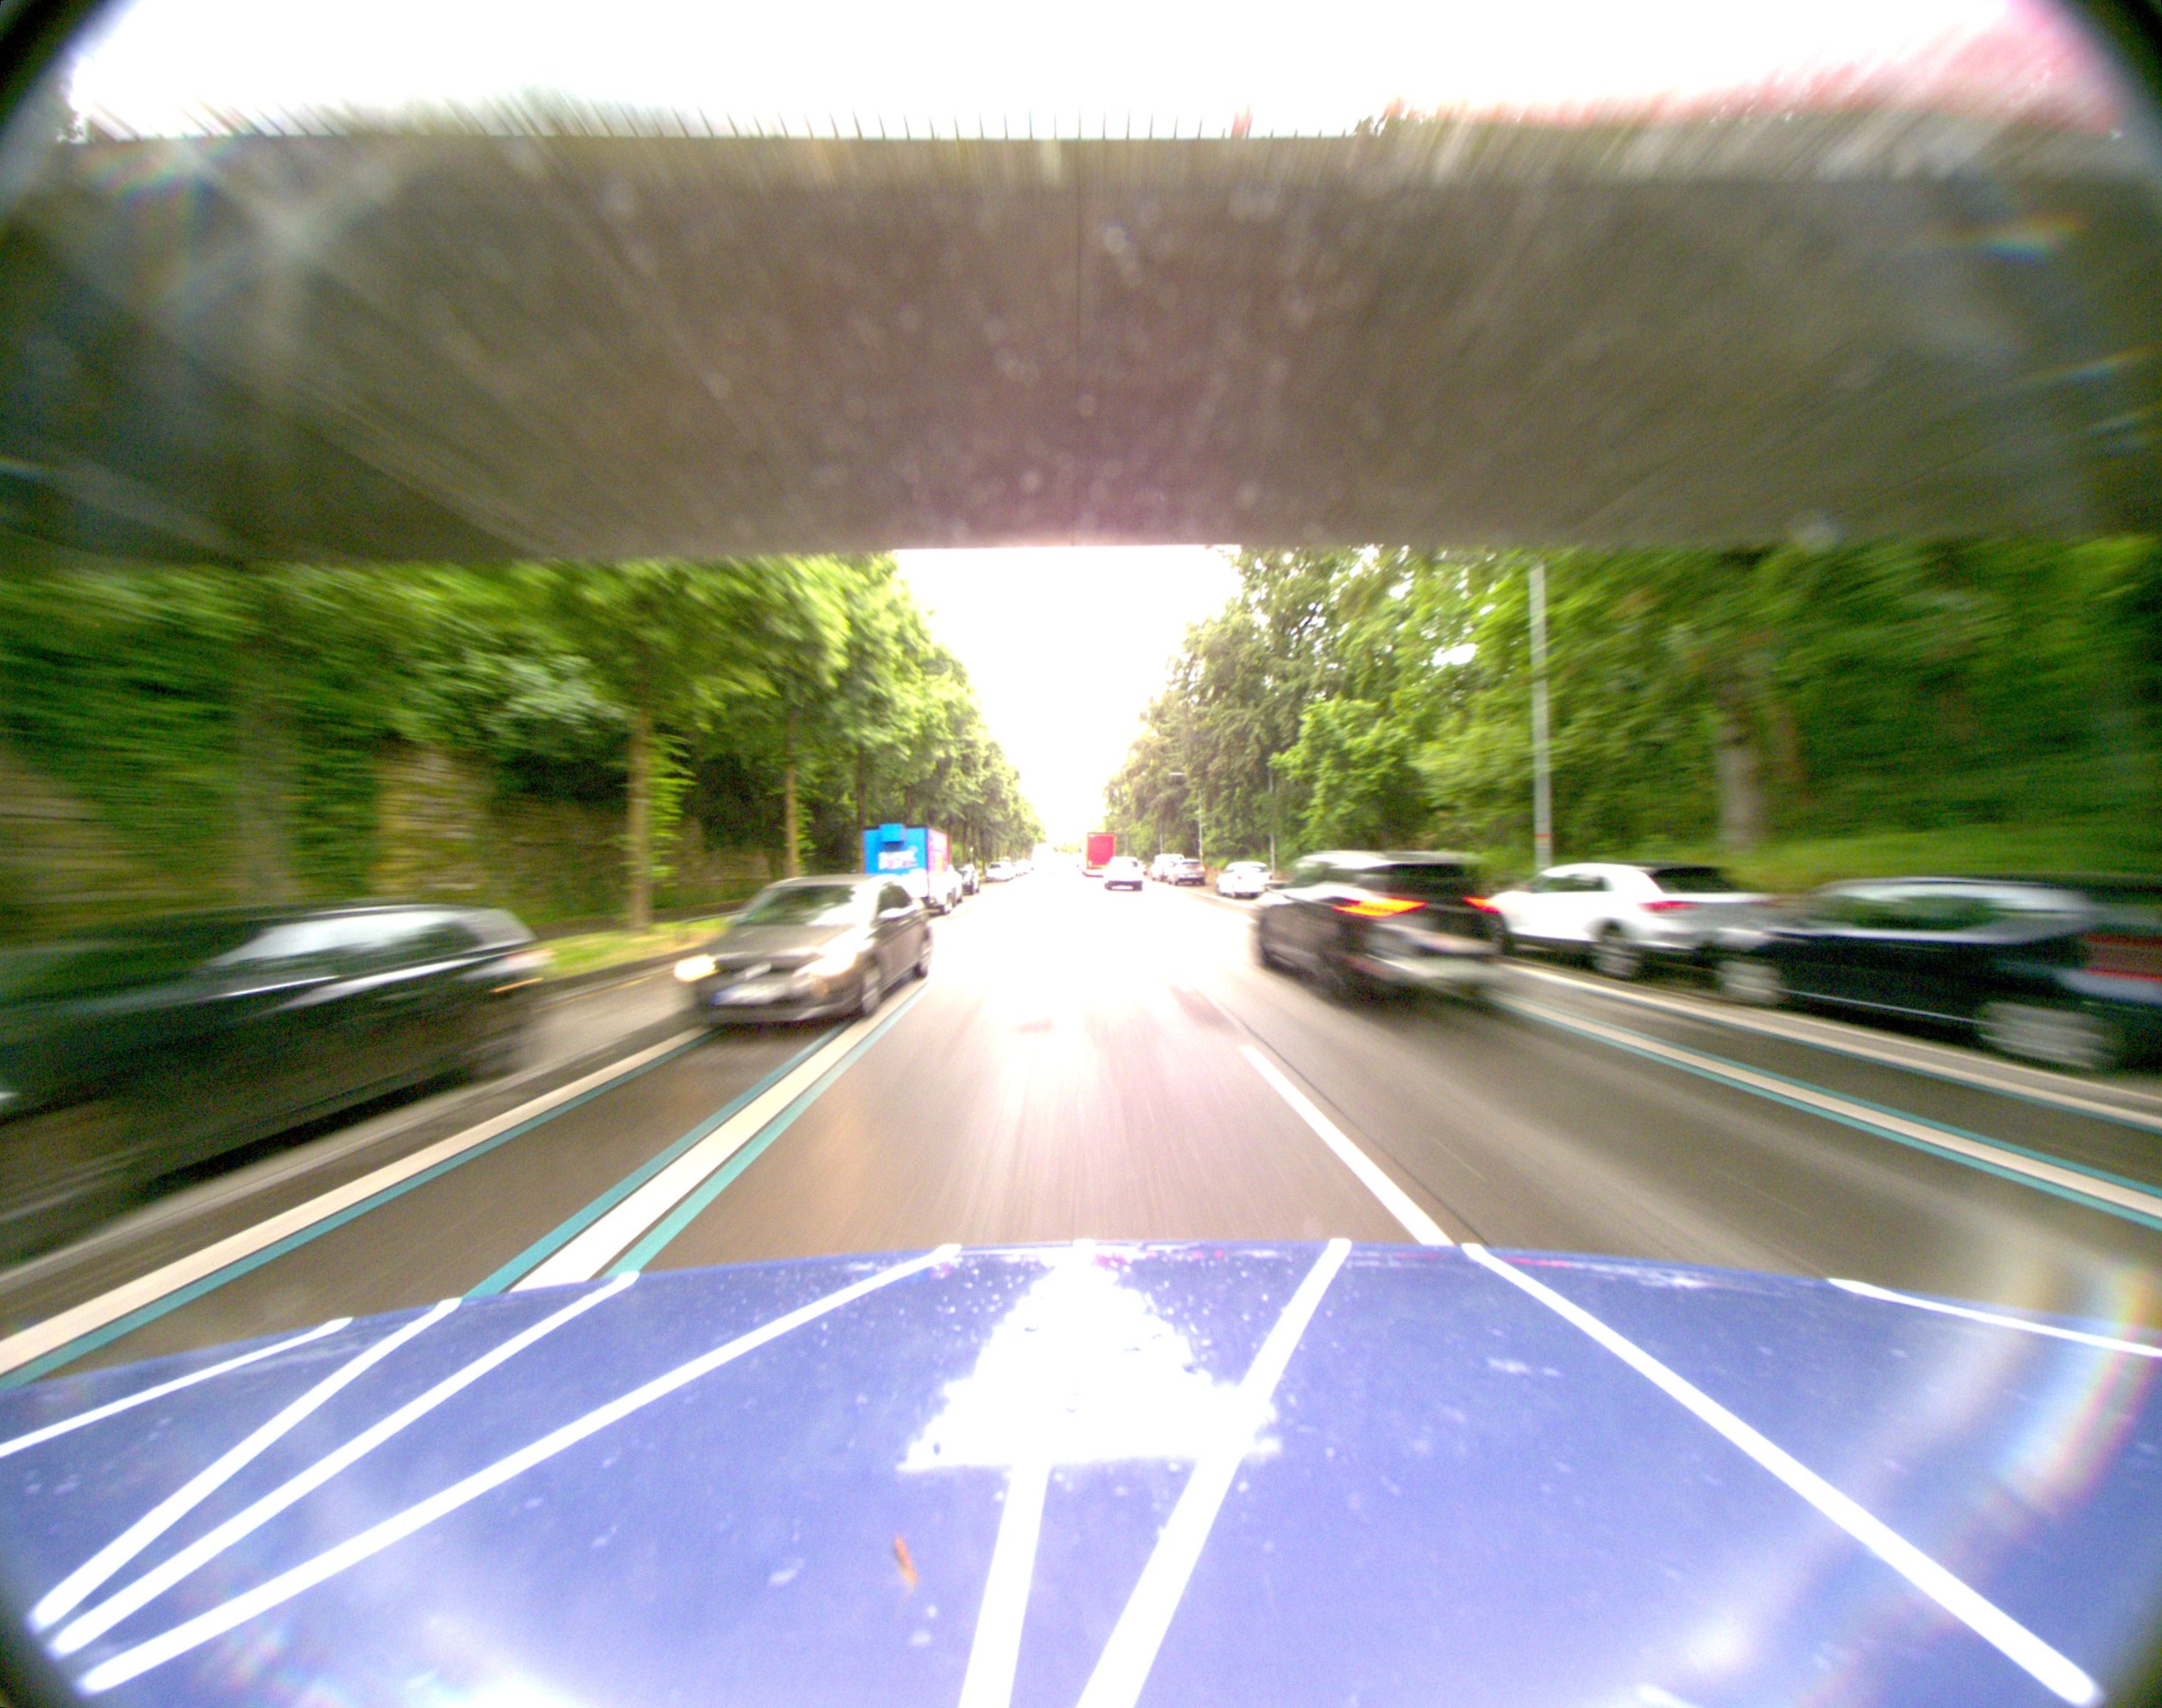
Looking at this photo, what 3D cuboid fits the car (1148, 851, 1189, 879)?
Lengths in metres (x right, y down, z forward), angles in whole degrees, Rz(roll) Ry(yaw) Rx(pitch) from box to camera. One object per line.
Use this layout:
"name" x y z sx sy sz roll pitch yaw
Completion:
"car" 6.640 0.855 58.215 1.979 1.993 5.016 -2 0 -6

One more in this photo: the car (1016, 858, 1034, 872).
"car" -7.136 1.345 97.208 1.999 1.652 4.561 -2 0 -2

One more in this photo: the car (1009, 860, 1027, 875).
"car" -6.662 1.402 80.198 1.702 1.445 4.096 -2 0 -3

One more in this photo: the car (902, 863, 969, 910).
"car" -5.426 1.150 28.884 1.905 1.538 4.754 -2 0 -4

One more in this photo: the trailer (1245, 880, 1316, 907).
"trailer" 7.178 1.401 27.577 1.547 0.814 3.304 -1 0 -3

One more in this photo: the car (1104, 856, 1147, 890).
"car" 2.252 0.953 39.729 1.839 1.656 4.180 1 0 -2

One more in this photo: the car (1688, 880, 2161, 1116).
"car" 7.833 1.007 6.835 1.614 1.430 3.843 -1 -1 -1

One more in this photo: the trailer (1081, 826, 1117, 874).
"trailer" 1.603 -0.327 73.912 2.695 4.234 12.766 1 0 -2

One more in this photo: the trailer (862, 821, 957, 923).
"trailer" -5.061 0.501 22.971 1.958 2.742 4.006 -2 0 -1

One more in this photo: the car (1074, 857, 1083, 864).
"car" -0.531 1.345 159.443 1.780 1.457 4.062 1 0 -1

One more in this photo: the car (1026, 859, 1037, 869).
"car" -7.611 1.506 116.809 1.700 1.468 3.997 -1 0 -3

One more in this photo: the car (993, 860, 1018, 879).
"car" -6.608 1.349 67.095 1.702 1.504 4.469 -2 0 0

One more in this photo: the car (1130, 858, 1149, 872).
"car" 6.348 1.204 83.052 1.694 1.397 4.027 -2 -1 0

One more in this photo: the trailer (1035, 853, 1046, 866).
"trailer" -7.810 1.052 145.760 1.989 2.550 3.999 -2 0 -4

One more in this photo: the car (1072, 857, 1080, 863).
"car" -1.333 1.676 209.043 1.959 1.629 4.444 1 0 -2

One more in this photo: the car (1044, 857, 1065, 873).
"car" -2.711 1.127 78.883 1.999 1.588 4.000 -2 0 -1

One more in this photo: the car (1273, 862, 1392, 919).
"car" 7.133 0.990 21.983 1.836 1.468 4.039 -1 -1 -4

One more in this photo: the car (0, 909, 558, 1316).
"car" -5.227 1.179 4.262 1.690 1.408 4.196 -1 0 -1

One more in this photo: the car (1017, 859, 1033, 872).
"car" -6.663 1.334 90.706 1.702 1.445 3.945 -2 0 -2

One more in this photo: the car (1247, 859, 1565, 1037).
"car" 3.464 0.876 9.144 1.971 1.618 4.320 0 0 0

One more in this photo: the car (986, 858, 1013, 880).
"car" -6.468 1.167 60.887 1.758 1.587 4.739 -2 0 -2

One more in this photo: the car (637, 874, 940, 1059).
"car" -2.959 1.047 8.760 1.823 1.499 4.139 -1 0 1

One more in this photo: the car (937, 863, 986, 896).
"car" -5.964 1.218 38.290 1.830 1.494 4.570 -1 0 -2

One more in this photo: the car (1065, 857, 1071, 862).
"car" -4.284 1.906 257.928 2.043 1.639 4.477 -1 0 0

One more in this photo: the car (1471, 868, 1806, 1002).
"car" 7.745 1.000 11.175 1.692 1.537 4.232 -1 -1 -2

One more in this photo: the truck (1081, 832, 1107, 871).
"truck" 1.334 -0.207 81.715 2.524 4.023 4.915 1 0 -1

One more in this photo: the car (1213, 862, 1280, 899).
"car" 6.981 1.072 32.408 1.794 1.473 3.981 -1 -1 -3

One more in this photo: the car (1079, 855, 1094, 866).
"car" 0.748 0.949 108.400 1.920 1.448 4.619 1 0 -1

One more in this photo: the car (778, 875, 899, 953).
"car" -5.141 1.215 16.618 1.589 1.345 3.861 -2 0 -4

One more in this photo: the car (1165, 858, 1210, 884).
"car" 6.807 1.083 49.109 2.015 1.596 4.779 -1 -1 -2
